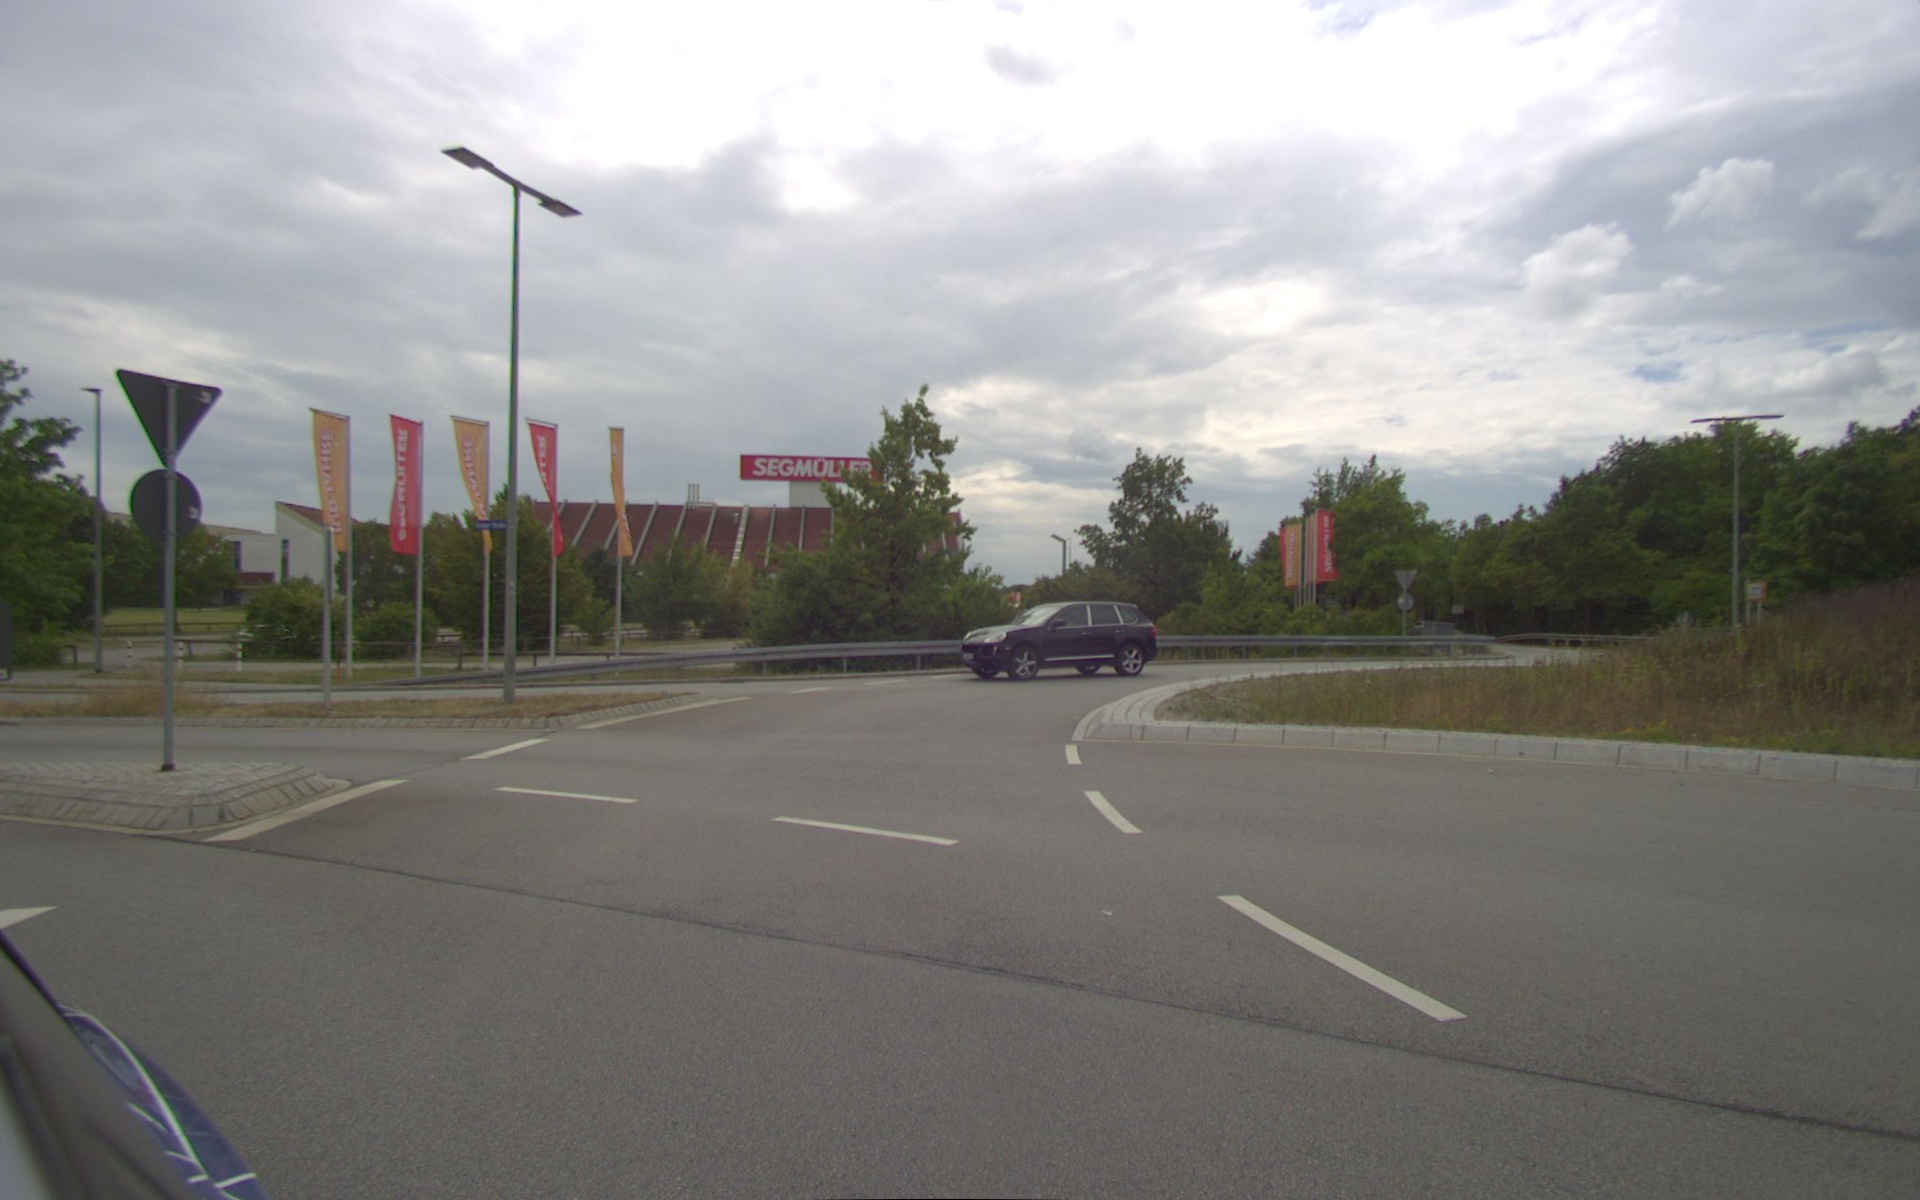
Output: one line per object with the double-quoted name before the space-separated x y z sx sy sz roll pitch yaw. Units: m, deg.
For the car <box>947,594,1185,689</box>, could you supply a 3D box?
"car" 2.429 0.850 23.049 4.964 1.804 2.112 -2 1 -26
